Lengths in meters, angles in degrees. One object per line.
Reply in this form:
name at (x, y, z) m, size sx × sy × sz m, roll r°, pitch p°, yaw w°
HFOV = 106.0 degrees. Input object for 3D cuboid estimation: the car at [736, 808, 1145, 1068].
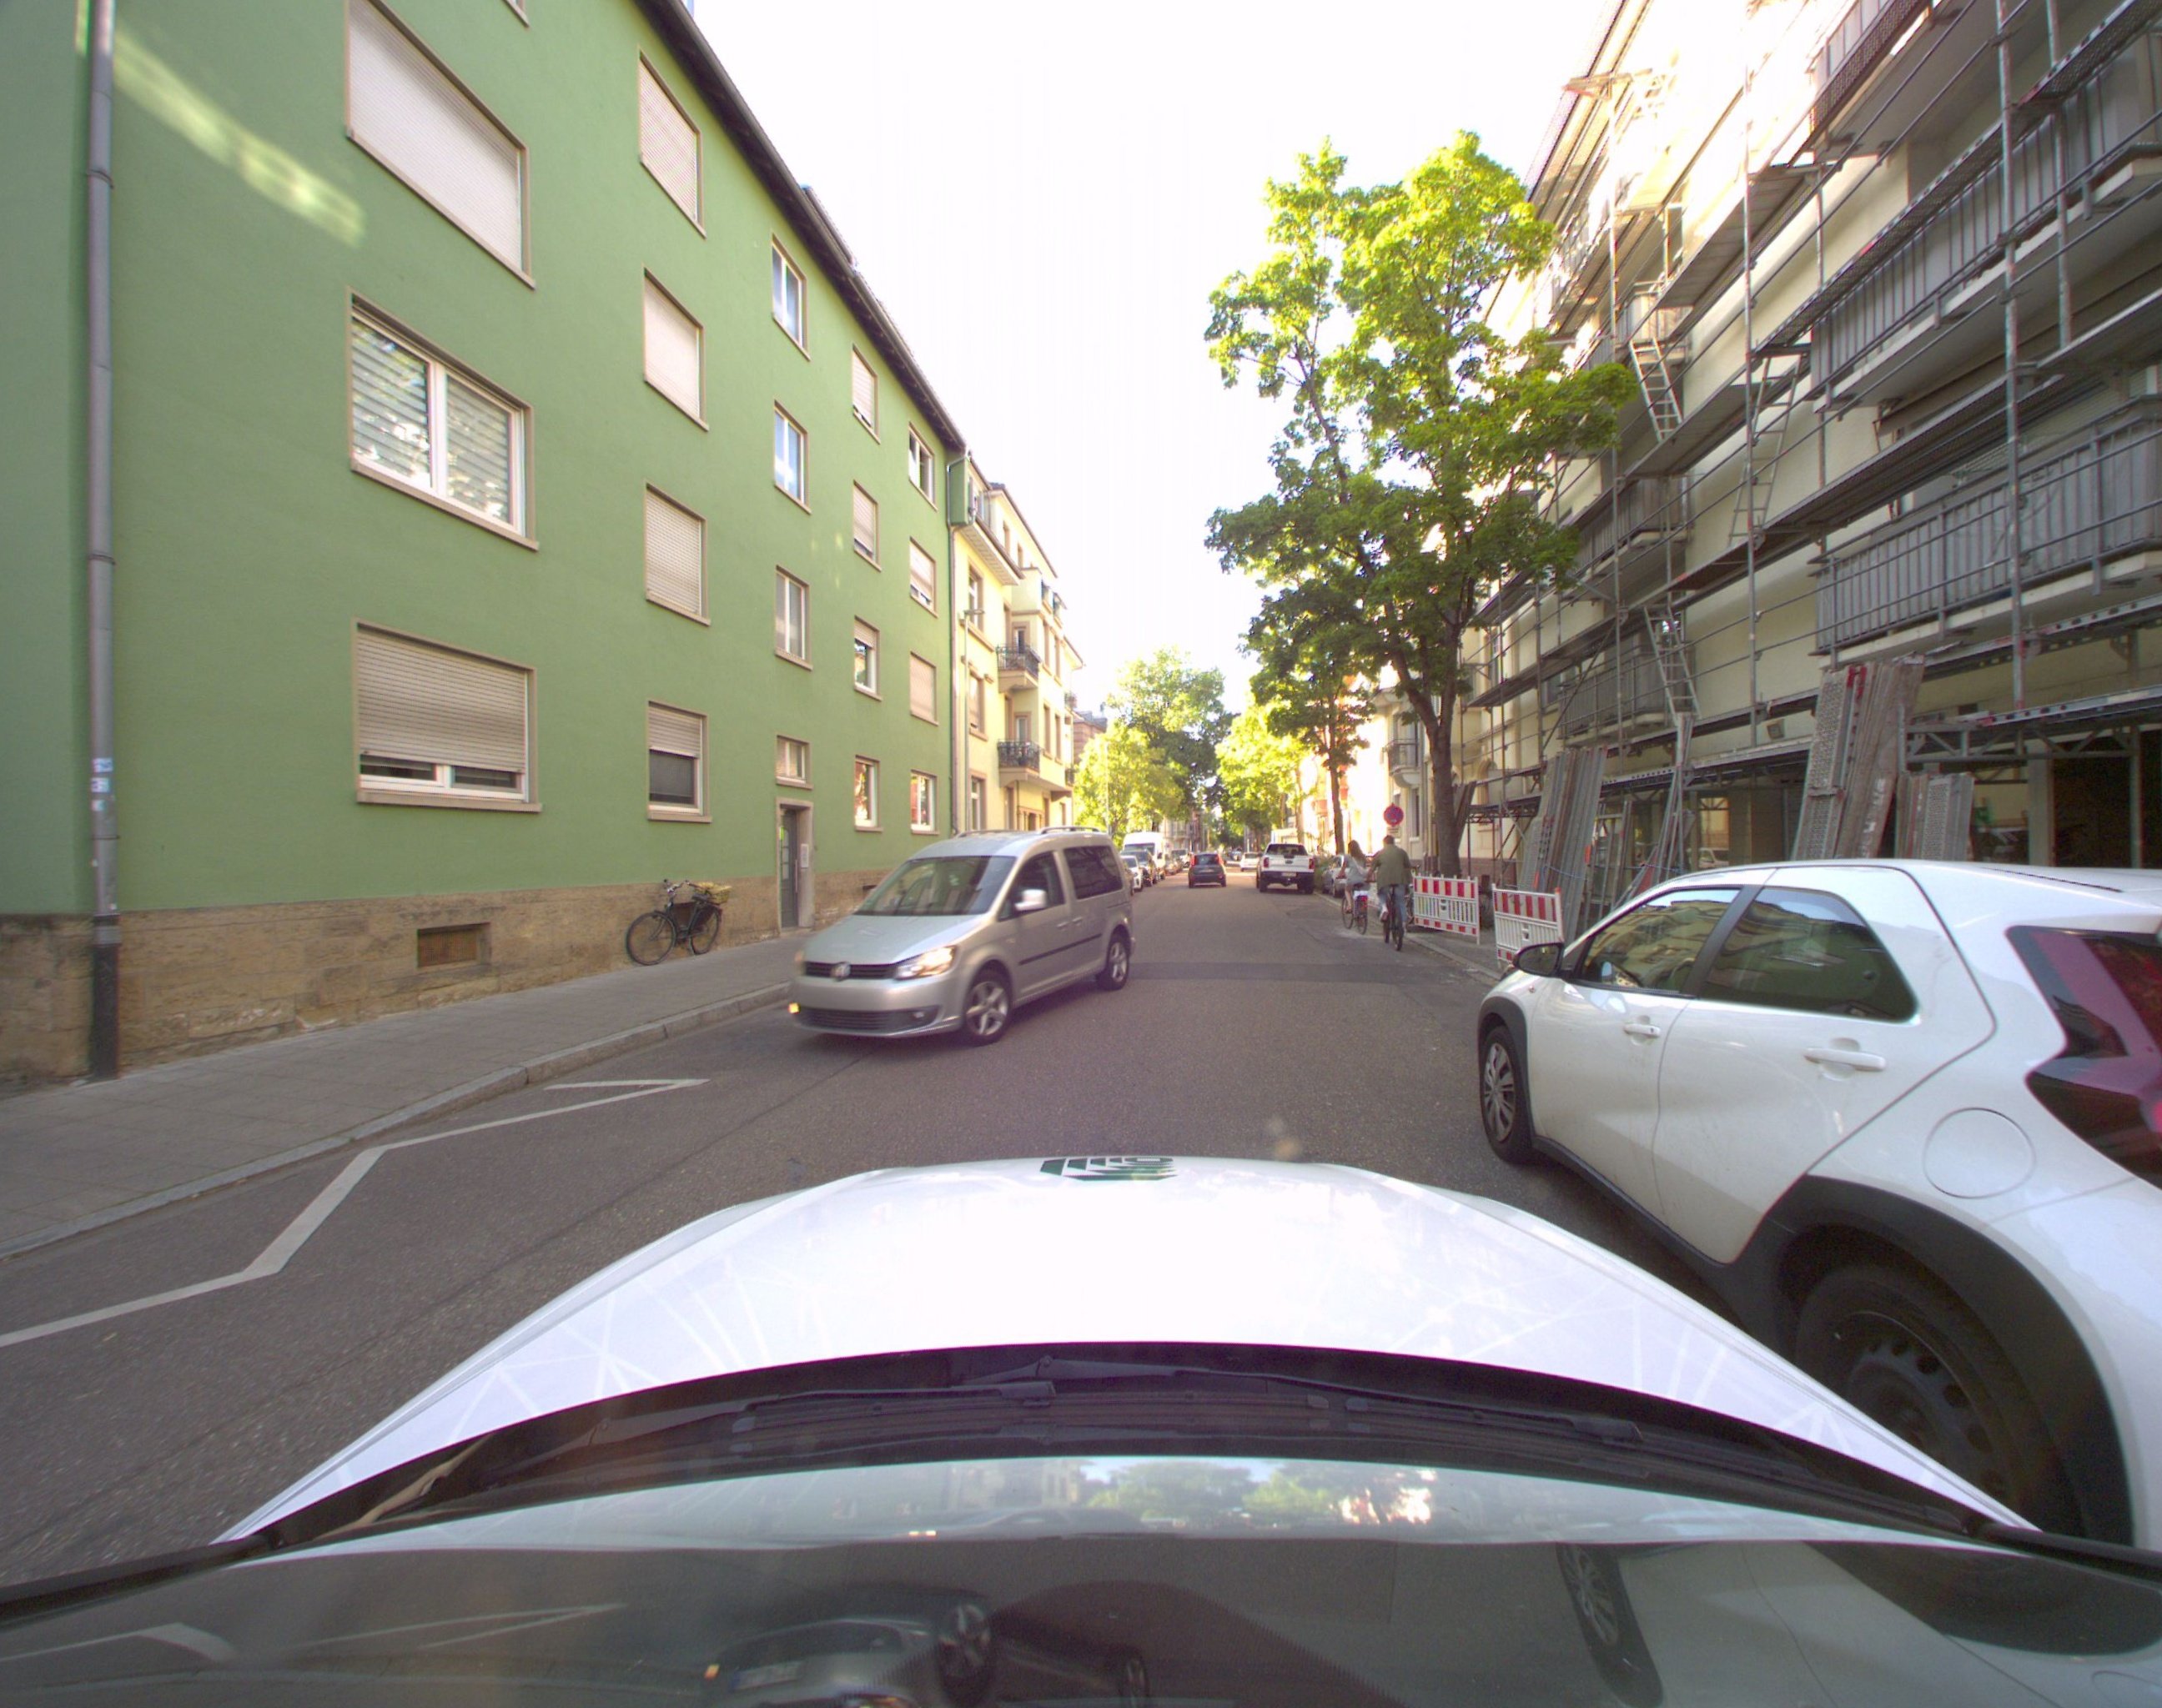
car at (-0.987, 0.613, 8.144) m, size 1.755 × 1.843 × 4.441 m, roll -3°, pitch -1°, yaw 24°

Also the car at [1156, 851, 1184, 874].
car at (6.744, 0.604, 61.609) m, size 1.665 × 1.572 × 4.164 m, roll -4°, pitch 0°, yaw 11°

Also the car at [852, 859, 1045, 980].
car at (-1.841, 0.874, 12.857) m, size 1.710 × 1.462 × 4.516 m, roll -4°, pitch 0°, yaw 7°

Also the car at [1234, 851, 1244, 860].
car at (26.227, 0.245, 134.925) m, size 1.652 × 1.505 × 3.768 m, roll 0°, pitch 0°, yaw 11°

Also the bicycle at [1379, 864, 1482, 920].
bicycle at (7.360, 0.784, 17.265) m, size 1.960 × 1.121 × 0.751 m, roll 0°, pitch 0°, yaw 20°

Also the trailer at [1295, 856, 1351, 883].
trailer at (10.384, 0.668, 35.006) m, size 2.076 × 1.112 × 1.114 m, roll -1°, pitch 0°, yaw -4°

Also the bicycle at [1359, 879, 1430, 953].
bicycle at (5.071, 0.971, 13.283) m, size 0.734 × 1.060 × 1.863 m, roll 0°, pitch 0°, yaw 10°

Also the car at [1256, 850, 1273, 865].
car at (19.466, 0.348, 86.468) m, size 1.510 × 1.511 × 3.554 m, roll -1°, pitch 0°, yaw 10°

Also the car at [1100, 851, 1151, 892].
car at (1.919, 0.701, 34.059) m, size 1.625 × 1.552 × 4.099 m, roll -2°, pitch -1°, yaw 9°

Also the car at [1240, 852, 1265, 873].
car at (13.169, 0.656, 62.736) m, size 1.669 × 1.544 × 3.810 m, roll 0°, pitch 0°, yaw 9°

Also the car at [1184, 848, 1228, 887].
car at (5.534, 0.545, 35.806) m, size 1.622 × 1.550 × 3.275 m, roll -3°, pitch 0°, yaw 12°

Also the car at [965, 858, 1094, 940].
car at (-0.973, 0.879, 17.820) m, size 1.822 × 1.462 × 4.374 m, roll -4°, pitch 0°, yaw 9°

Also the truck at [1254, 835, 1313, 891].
truck at (7.721, 0.308, 31.459) m, size 1.817 × 1.949 × 5.557 m, roll 0°, pitch 0°, yaw 10°

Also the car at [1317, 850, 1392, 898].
car at (9.136, 0.619, 27.494) m, size 1.670 × 1.422 × 4.442 m, roll -2°, pitch 0°, yaw 10°

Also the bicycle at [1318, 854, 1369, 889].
bicycle at (10.089, 0.656, 31.331) m, size 1.749 × 1.305 × 0.587 m, roll -1°, pitch 0°, yaw 8°

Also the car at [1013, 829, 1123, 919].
car at (-0.204, 0.520, 23.424) m, size 2.239 × 2.168 × 5.255 m, roll -4°, pitch 0°, yaw 8°

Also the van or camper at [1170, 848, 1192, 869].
van or camper at (10.153, 0.456, 82.217) m, size 1.910 × 1.980 × 5.475 m, roll -4°, pitch -1°, yaw 9°

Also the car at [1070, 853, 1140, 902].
car at (0.963, 0.783, 29.383) m, size 1.755 × 1.521 × 4.839 m, roll -2°, pitch 0°, yaw 10°

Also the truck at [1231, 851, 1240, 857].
truck at (36.628, 0.006, 193.075) m, size 1.981 × 1.456 × 4.011 m, roll -1°, pitch 0°, yaw 10°

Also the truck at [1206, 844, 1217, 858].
truck at (29.783, -0.624, 185.771) m, size 2.057 × 2.926 × 5.083 m, roll -5°, pitch -1°, yaw 11°

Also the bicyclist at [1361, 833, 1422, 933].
bicyclist at (5.070, 0.448, 13.350) m, size 0.751 × 1.565 × 0.984 m, roll 0°, pitch 0°, yaw 9°

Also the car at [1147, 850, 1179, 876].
car at (5.612, 0.560, 55.489) m, size 1.769 × 1.591 × 4.481 m, roll -3°, pitch 0°, yaw 10°

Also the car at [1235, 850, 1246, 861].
car at (25.598, 0.248, 130.461) m, size 1.652 × 1.669 × 3.768 m, roll 0°, pitch 0°, yaw 11°

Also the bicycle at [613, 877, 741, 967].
bicycle at (-5.567, 0.896, 11.373) m, size 0.484 × 1.075 × 1.975 m, roll 3°, pitch 0°, yaw 10°

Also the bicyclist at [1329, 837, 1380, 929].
bicyclist at (5.246, 0.543, 15.665) m, size 0.711 × 1.689 × 0.983 m, roll 2°, pitch 0°, yaw 7°

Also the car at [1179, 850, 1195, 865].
car at (12.744, 0.404, 97.868) m, size 1.815 × 1.554 × 4.142 m, roll -5°, pitch -1°, yaw 8°

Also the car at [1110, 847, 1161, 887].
car at (2.706, 0.574, 39.083) m, size 1.864 × 1.685 × 4.983 m, roll -3°, pitch 0°, yaw 9°

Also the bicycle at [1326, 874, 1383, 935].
bicycle at (5.253, 0.939, 15.718) m, size 0.702 × 1.045 × 1.862 m, roll 2°, pitch 0°, yaw 9°

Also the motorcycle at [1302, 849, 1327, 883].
motorcycle at (10.564, 0.510, 36.926) m, size 0.924 × 1.486 × 2.145 m, roll -1°, pitch 0°, yaw 11°

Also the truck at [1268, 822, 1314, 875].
truck at (13.058, -0.342, 51.071) m, size 2.061 × 2.968 × 6.125 m, roll -4°, pitch 0°, yaw 9°

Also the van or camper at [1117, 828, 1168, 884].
van or camper at (3.483, 0.106, 44.817) m, size 2.115 × 2.769 × 5.868 m, roll -3°, pitch 0°, yaw 10°

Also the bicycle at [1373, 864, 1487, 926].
bicycle at (6.790, 0.772, 15.885) m, size 1.904 × 1.121 × 0.752 m, roll 0°, pitch 0°, yaw 39°

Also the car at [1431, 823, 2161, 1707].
car at (2.655, 0.716, 2.926) m, size 1.791 × 1.535 × 3.977 m, roll 0°, pitch 0°, yaw 11°
